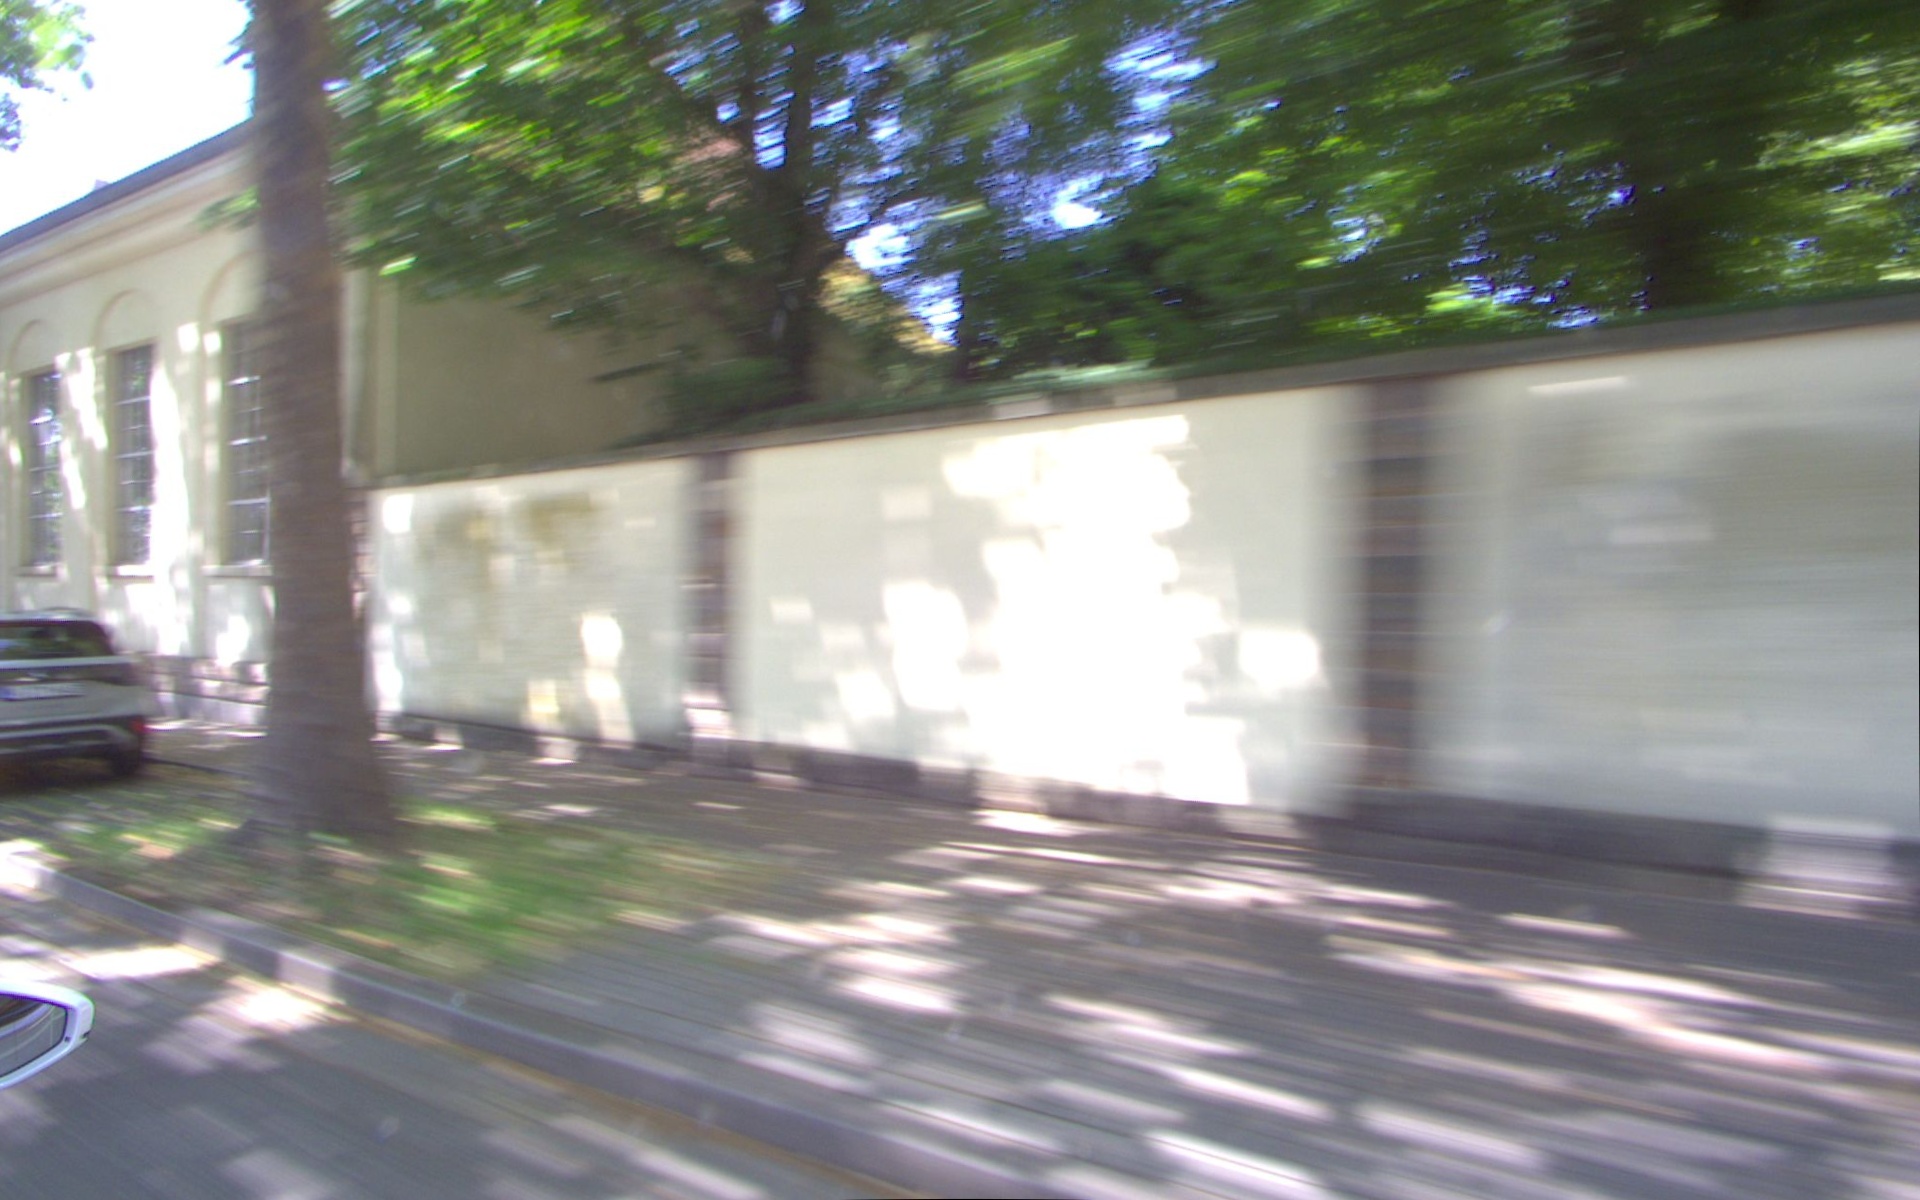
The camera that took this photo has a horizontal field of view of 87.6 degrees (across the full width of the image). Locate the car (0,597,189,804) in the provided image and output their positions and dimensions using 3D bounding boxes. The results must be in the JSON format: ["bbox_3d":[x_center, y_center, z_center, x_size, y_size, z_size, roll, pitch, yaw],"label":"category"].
[{"bbox_3d":[-9.356,0.792,9.492,4.711,1.578,1.737,1,2,33],"label":"car"}]
